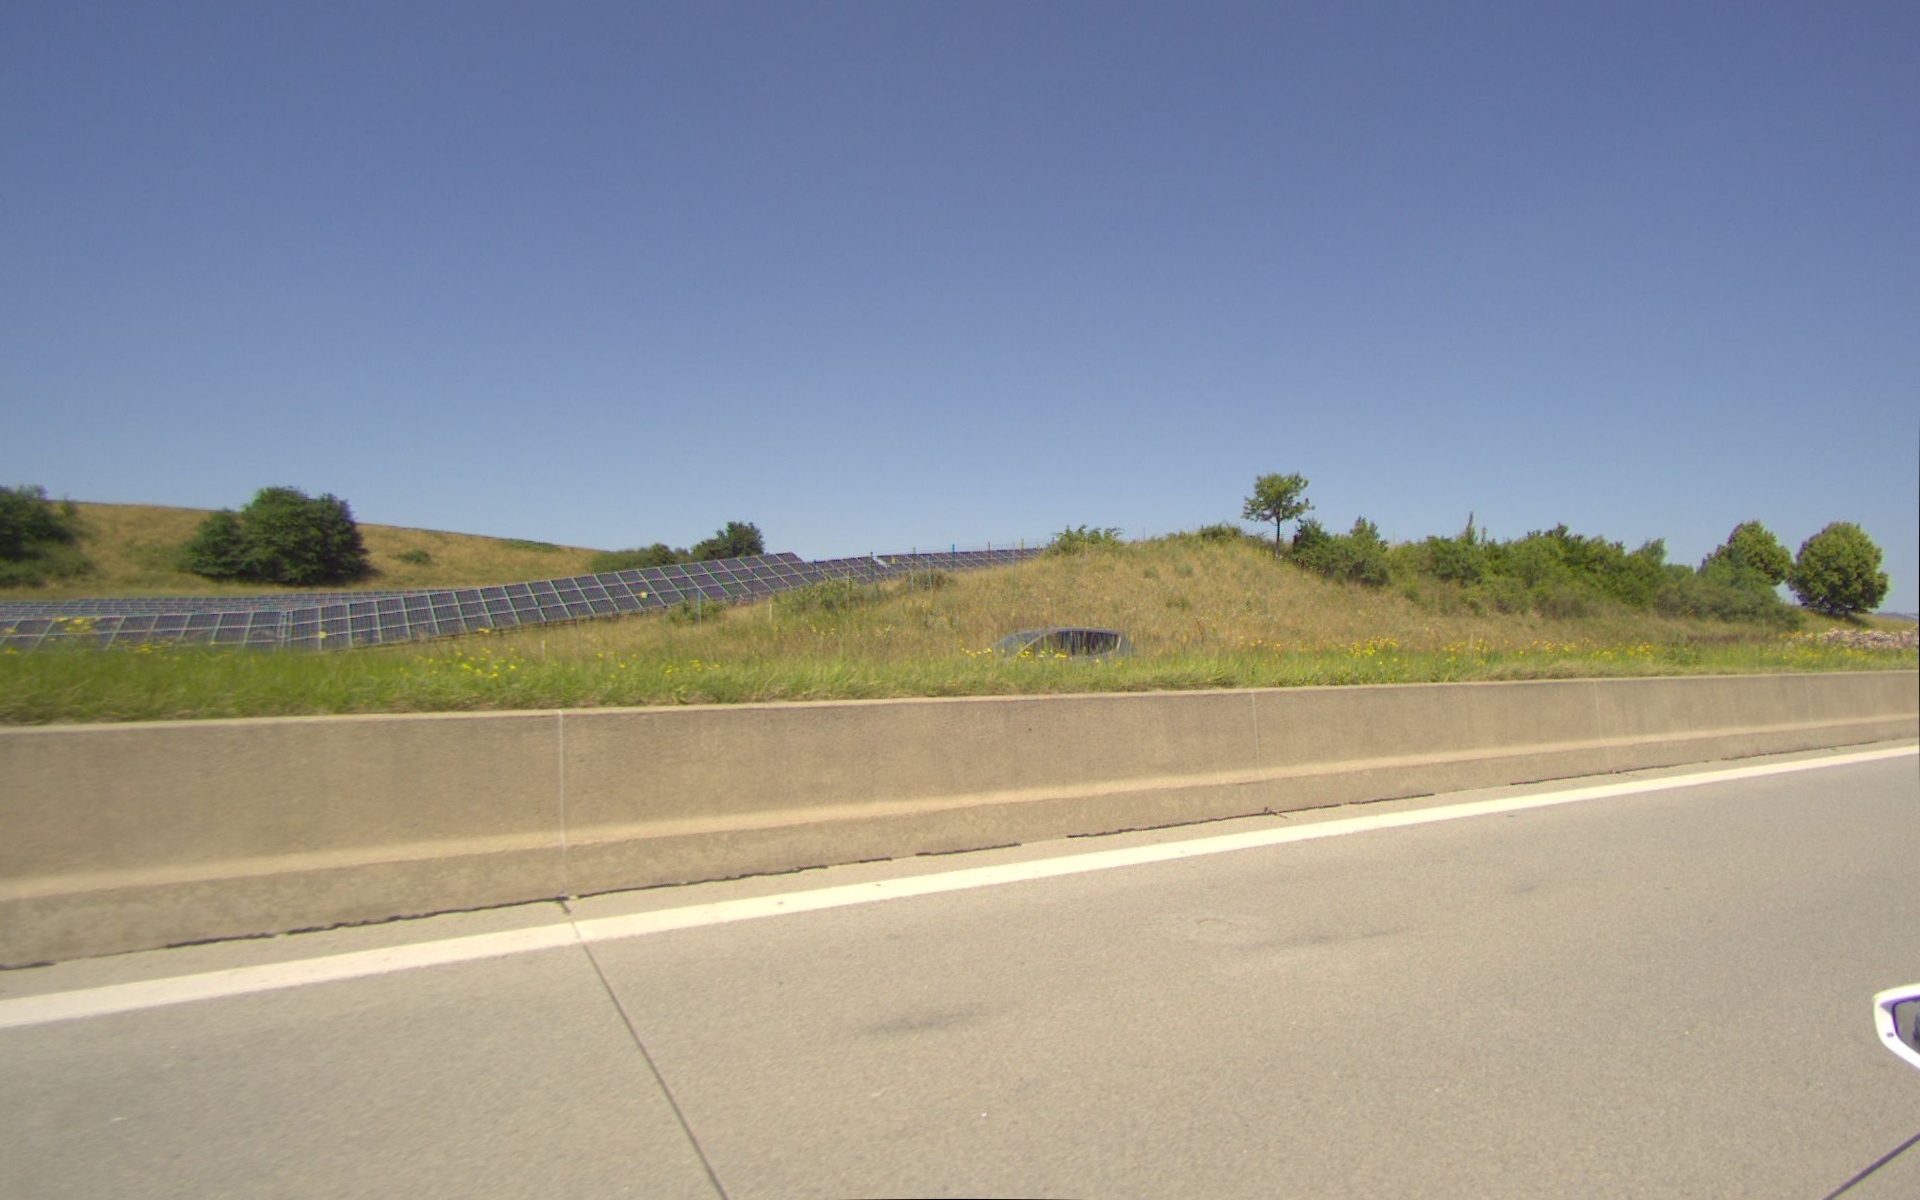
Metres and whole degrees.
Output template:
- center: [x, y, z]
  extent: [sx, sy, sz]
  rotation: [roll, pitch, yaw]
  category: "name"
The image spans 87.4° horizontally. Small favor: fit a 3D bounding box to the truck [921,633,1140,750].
- center: [1.270, 1.538, 17.788]
  extent: [3.538, 1.840, 1.650]
  rotation: [2, 0, -30]
  category: "truck"
